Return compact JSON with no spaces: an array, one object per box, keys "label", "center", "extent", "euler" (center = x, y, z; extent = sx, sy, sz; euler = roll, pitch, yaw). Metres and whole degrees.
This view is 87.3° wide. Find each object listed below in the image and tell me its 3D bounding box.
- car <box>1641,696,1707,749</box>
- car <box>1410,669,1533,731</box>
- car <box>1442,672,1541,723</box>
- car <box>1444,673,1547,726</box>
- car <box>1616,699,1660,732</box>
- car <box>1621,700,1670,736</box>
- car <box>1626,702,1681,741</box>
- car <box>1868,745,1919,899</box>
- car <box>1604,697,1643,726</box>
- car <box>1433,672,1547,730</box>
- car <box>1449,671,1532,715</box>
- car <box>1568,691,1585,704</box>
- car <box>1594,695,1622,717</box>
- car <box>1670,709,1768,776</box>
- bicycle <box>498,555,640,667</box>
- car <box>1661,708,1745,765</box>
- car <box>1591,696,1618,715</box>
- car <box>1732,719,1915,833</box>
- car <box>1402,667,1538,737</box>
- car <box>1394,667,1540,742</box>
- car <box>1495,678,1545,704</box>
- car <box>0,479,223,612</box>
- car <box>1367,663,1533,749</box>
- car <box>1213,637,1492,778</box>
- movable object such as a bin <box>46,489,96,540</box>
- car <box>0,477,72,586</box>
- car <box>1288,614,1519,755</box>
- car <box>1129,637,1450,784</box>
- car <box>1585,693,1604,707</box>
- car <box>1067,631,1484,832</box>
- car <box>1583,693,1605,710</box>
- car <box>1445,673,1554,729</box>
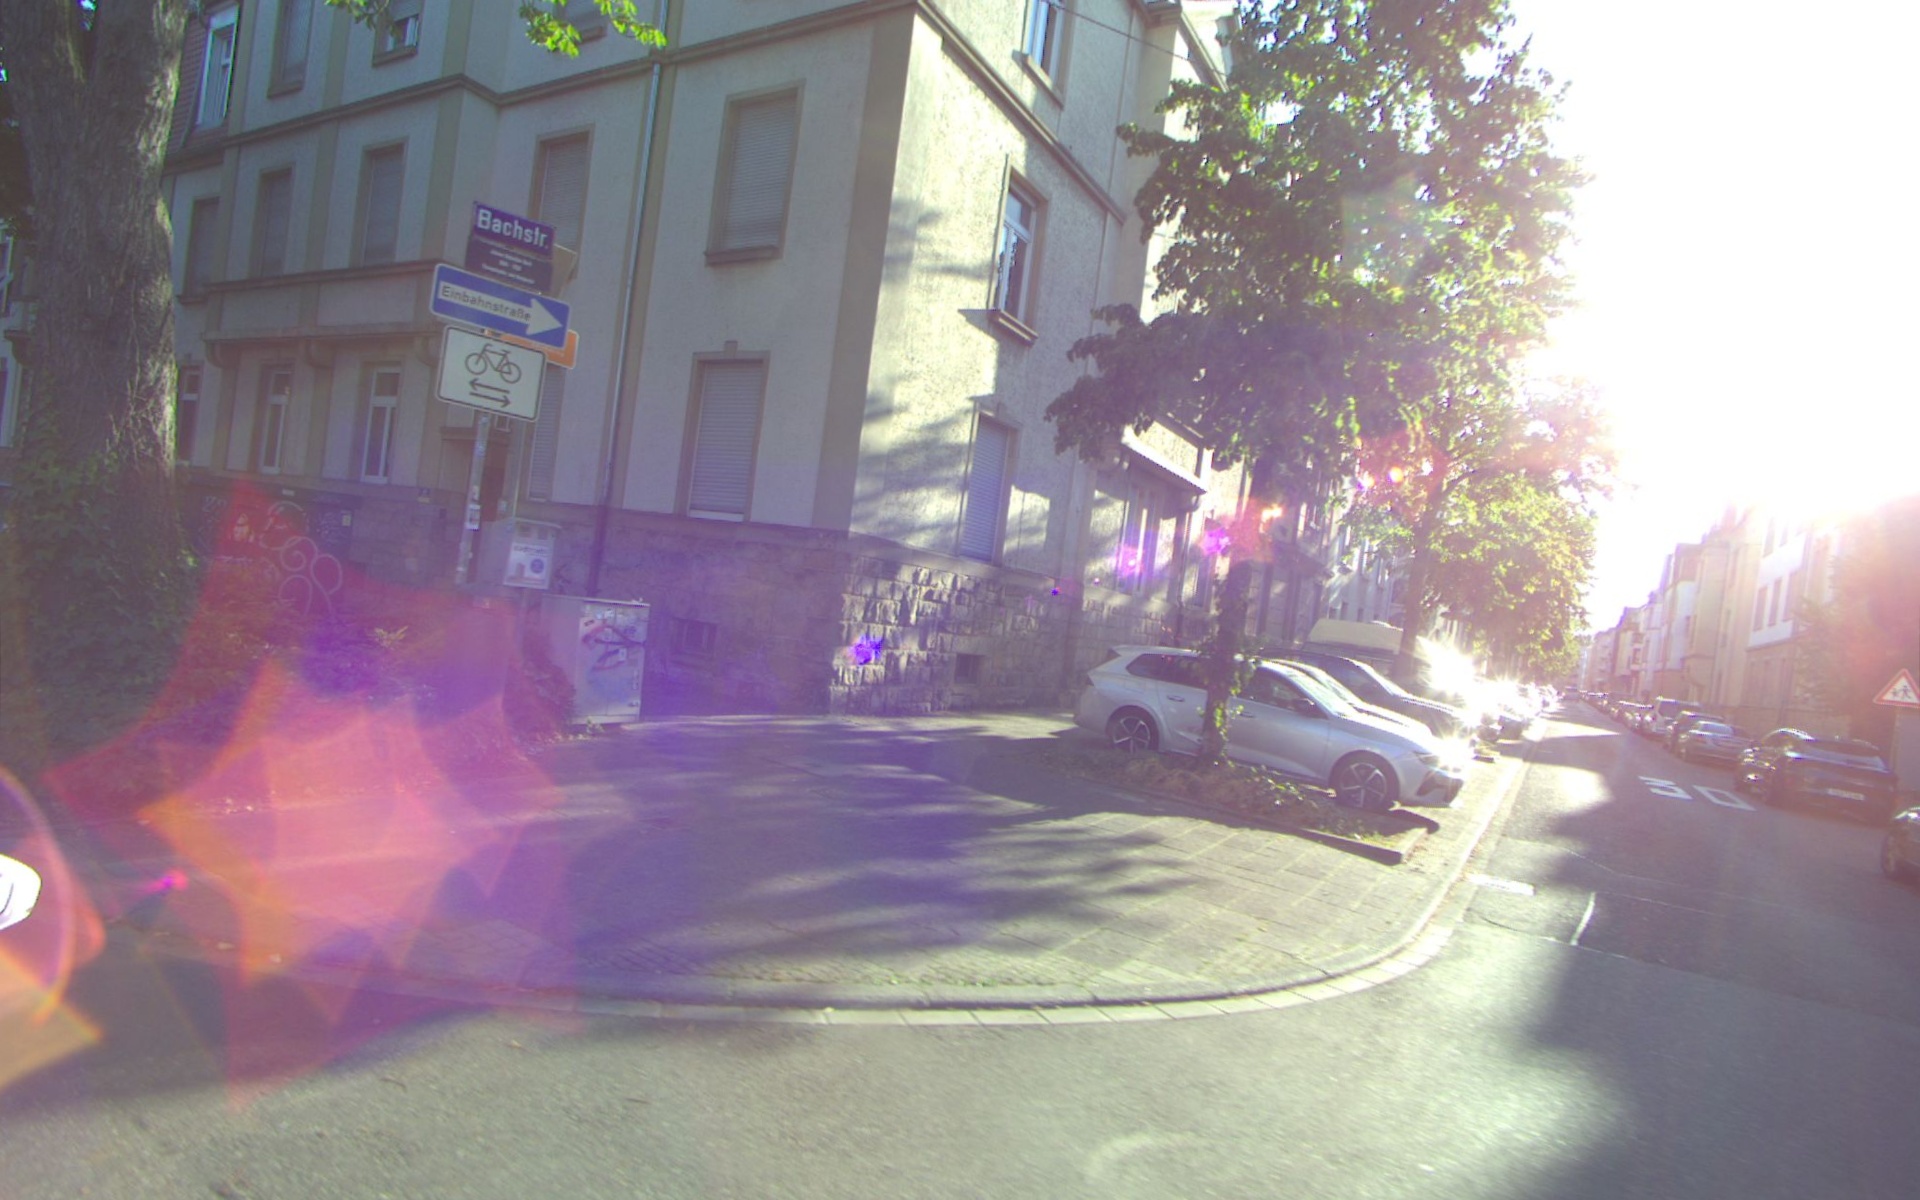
[{"label":"car","center":[30.862,5.249,43.576],"extent":[1.727,1.862,4.163],"euler":[9,1,31]},{"label":"car","center":[19.125,3.694,37.655],"extent":[3.787,1.616,1.668],"euler":[9,1,32]},{"label":"car","center":[24.328,4.436,46.075],"extent":[3.727,1.616,1.668],"euler":[9,1,32]},{"label":"car","center":[23.443,4.328,44.076],"extent":[3.727,1.616,1.668],"euler":[9,1,32]},{"label":"car","center":[39.948,6.789,59.344],"extent":[1.727,1.494,4.163],"euler":[9,1,31]},{"label":"car","center":[37.528,6.430,55.128],"extent":[1.727,1.494,4.163],"euler":[9,1,31]},{"label":"car","center":[33.823,5.886,49.142],"extent":[1.727,1.494,4.163],"euler":[9,1,31]},{"label":"car","center":[10.460,2.405,9.618],"extent":[1.628,1.494,4.163],"euler":[10,1,31]},{"label":"car","center":[43.572,7.321,66.099],"extent":[1.727,1.494,4.163],"euler":[9,1,31]},{"label":"car","center":[21.038,3.984,39.952],"extent":[3.727,1.616,1.668],"euler":[9,1,32]},{"label":"car","center":[28.919,5.042,54.830],"extent":[3.727,1.714,1.668],"euler":[9,1,32]},{"label":"car","center":[85.201,13.482,138.998],"extent":[1.727,1.494,4.163],"euler":[9,1,31]},{"label":"car","center":[56.603,9.257,87.940],"extent":[1.727,1.494,4.163],"euler":[9,1,31]},{"label":"car","center":[23.091,4.286,30.747],"extent":[1.727,1.494,4.163],"euler":[9,1,31]},{"label":"bicycle","center":[-5.311,0.135,13.629],"extent":[1.924,1.226,0.585],"euler":[8,1,29]},{"label":"car","center":[25.784,4.683,35.021],"extent":[1.727,1.494,4.163],"euler":[9,1,31]},{"label":"car","center":[60.546,9.895,94.542],"extent":[1.727,1.494,4.163],"euler":[9,1,31]},{"label":"car","center":[16.231,3.225,19.147],"extent":[1.727,1.494,4.163],"euler":[9,1,31]},{"label":"car","center":[17.050,3.378,33.681],"extent":[3.787,1.616,1.668],"euler":[9,1,32]},{"label":"car","center":[15.828,3.209,31.446],"extent":[3.787,1.616,1.668],"euler":[9,1,32]},{"label":"car","center":[50.619,8.213,90.913],"extent":[3.727,1.616,1.668],"euler":[9,1,32]},{"label":"car","center":[-11.942,-0.759,12.703],"extent":[1.718,1.456,3.800],"euler":[8,1,27]},{"label":"car","center":[13.379,2.839,27.521],"extent":[3.787,1.616,1.668],"euler":[9,1,32]},{"label":"car","center":[6.915,1.820,17.872],"extent":[4.214,1.628,1.726],"euler":[9,1,32]},{"label":"movable object such as a bin","center":[-20.203,-1.941,22.862],"extent":[0.532,1.064,0.700],"euler":[8,4,31]},{"label":"car","center":[-15.999,-1.266,14.663],"extent":[1.682,1.596,4.157],"euler":[8,0,26]},{"label":"car","center":[10.353,1.910,23.597],"extent":[4.447,2.450,1.874],"euler":[9,1,33]},{"label":"car","center":[5.231,1.665,16.151],"extent":[4.453,1.426,1.846],"euler":[9,1,32]},{"label":"car","center":[81.635,12.865,129.540],"extent":[1.727,1.494,4.163],"euler":[9,1,31]},{"label":"car","center":[3.738,1.451,12.197],"extent":[4.394,1.426,1.786],"euler":[9,1,32]},{"label":"car","center":[71.343,11.434,113.283],"extent":[1.727,1.494,4.163],"euler":[9,1,31]},{"label":"car","center":[22.480,4.170,41.940],"extent":[3.727,1.616,1.668],"euler":[9,1,32]}]
